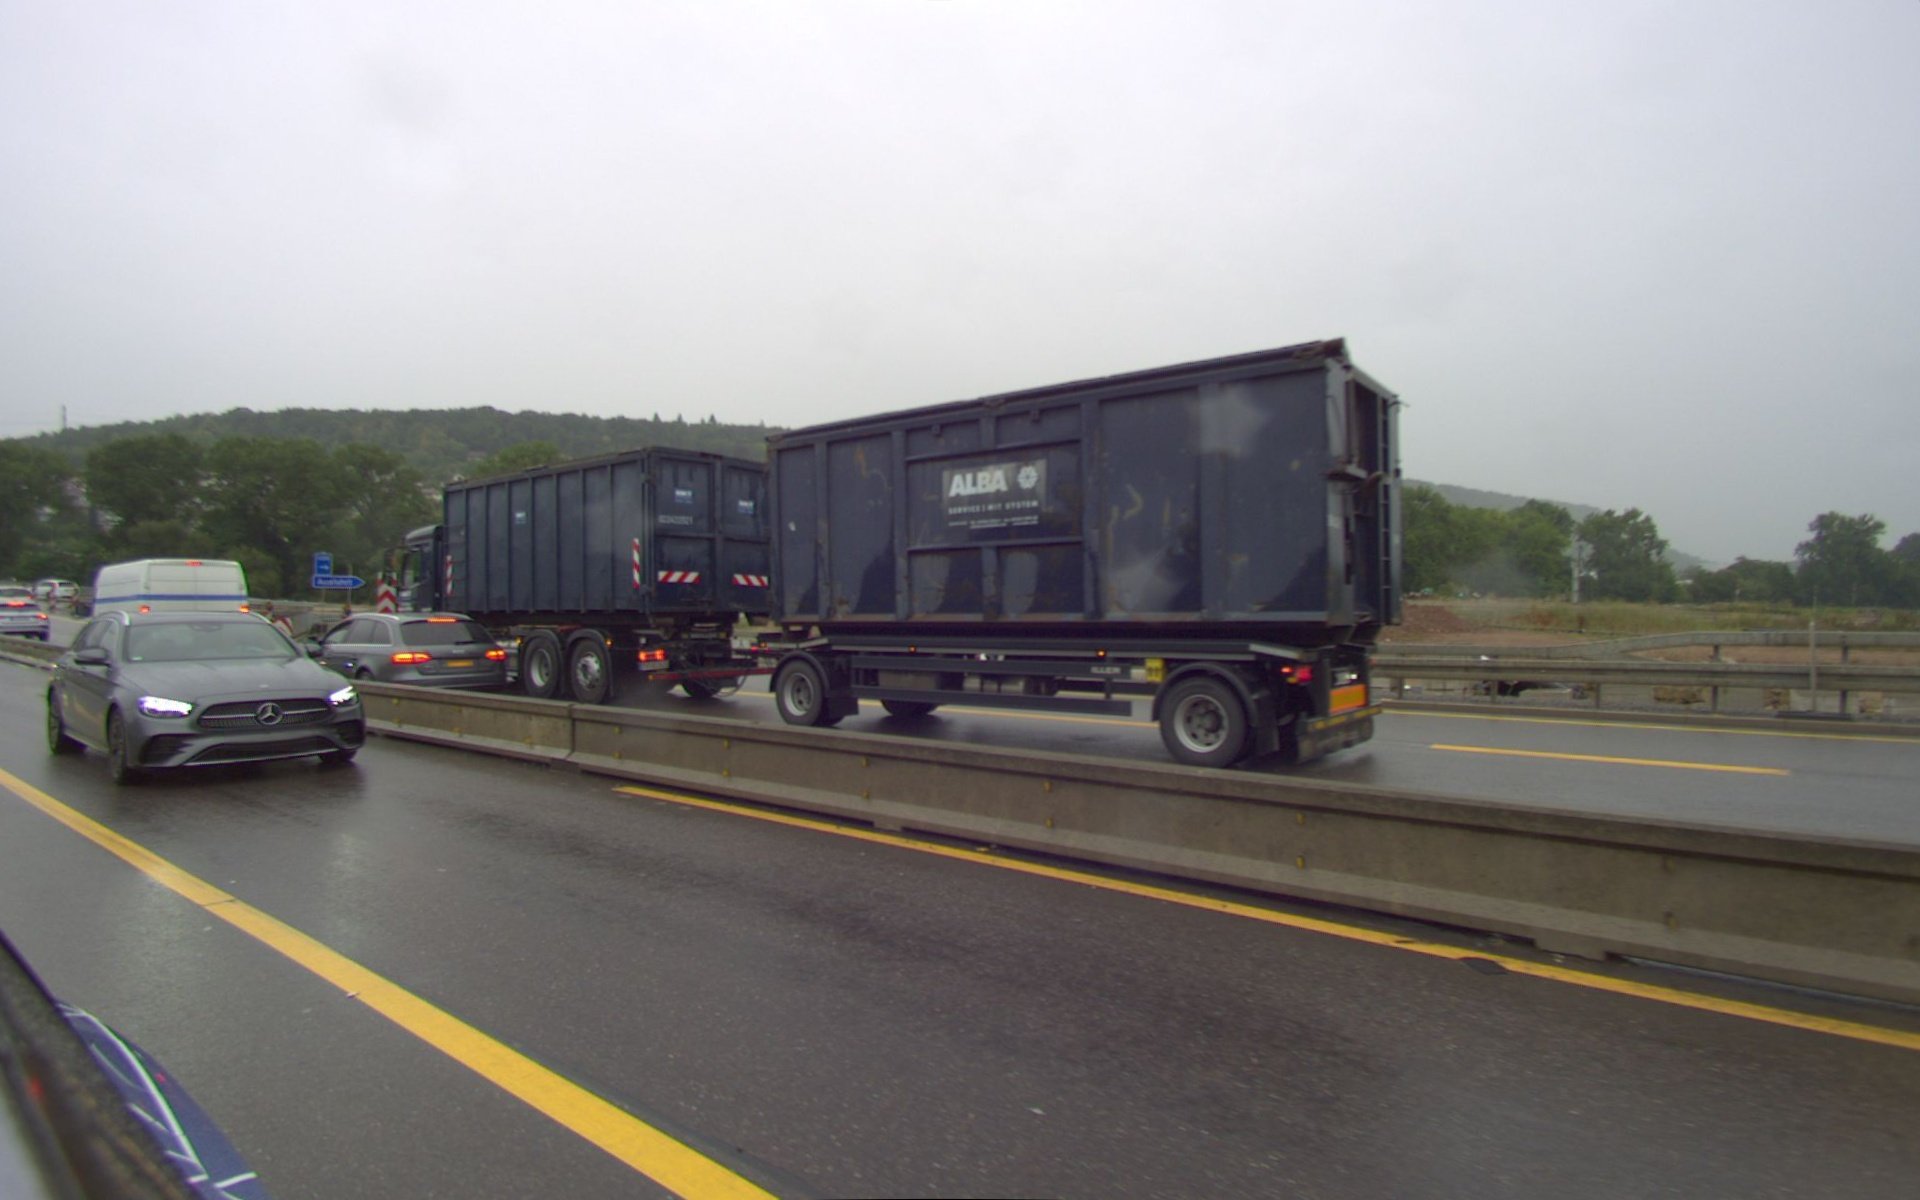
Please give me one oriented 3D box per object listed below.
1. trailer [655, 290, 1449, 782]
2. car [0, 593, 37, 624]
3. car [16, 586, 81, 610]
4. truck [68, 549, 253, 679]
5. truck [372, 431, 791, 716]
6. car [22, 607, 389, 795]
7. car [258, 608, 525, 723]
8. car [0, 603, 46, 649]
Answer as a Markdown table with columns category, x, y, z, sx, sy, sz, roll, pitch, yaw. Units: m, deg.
| category | x | y | z | sx | sy | sz | roll | pitch | yaw |
| --- | --- | --- | --- | --- | --- | --- | --- | --- | --- |
| trailer | 0.362 | -0.449 | 12.268 | 9.660 | 4.000 | 2.720 | -1 | -1 | 38 |
| car | -50.690 | 0.433 | 53.823 | 3.995 | 1.558 | 1.770 | 1 | 0 | 39 |
| car | -69.517 | -0.154 | 77.169 | 5.016 | 1.713 | 1.835 | 2 | 1 | 25 |
| truck | -19.063 | 0.303 | 24.001 | 6.008 | 2.734 | 2.127 | 0 | 0 | 38 |
| truck | -7.149 | -0.306 | 18.109 | 9.199 | 4.000 | 2.616 | -1 | -1 | 38 |
| car | -7.605 | 0.835 | 10.033 | 4.479 | 1.449 | 1.927 | -2 | -1 | 40 |
| car | -8.641 | 0.871 | 15.217 | 4.664 | 1.482 | 1.851 | -1 | -1 | 38 |
| car | -33.987 | 0.885 | 35.862 | 4.339 | 1.535 | 1.660 | 0 | -1 | 39 |
